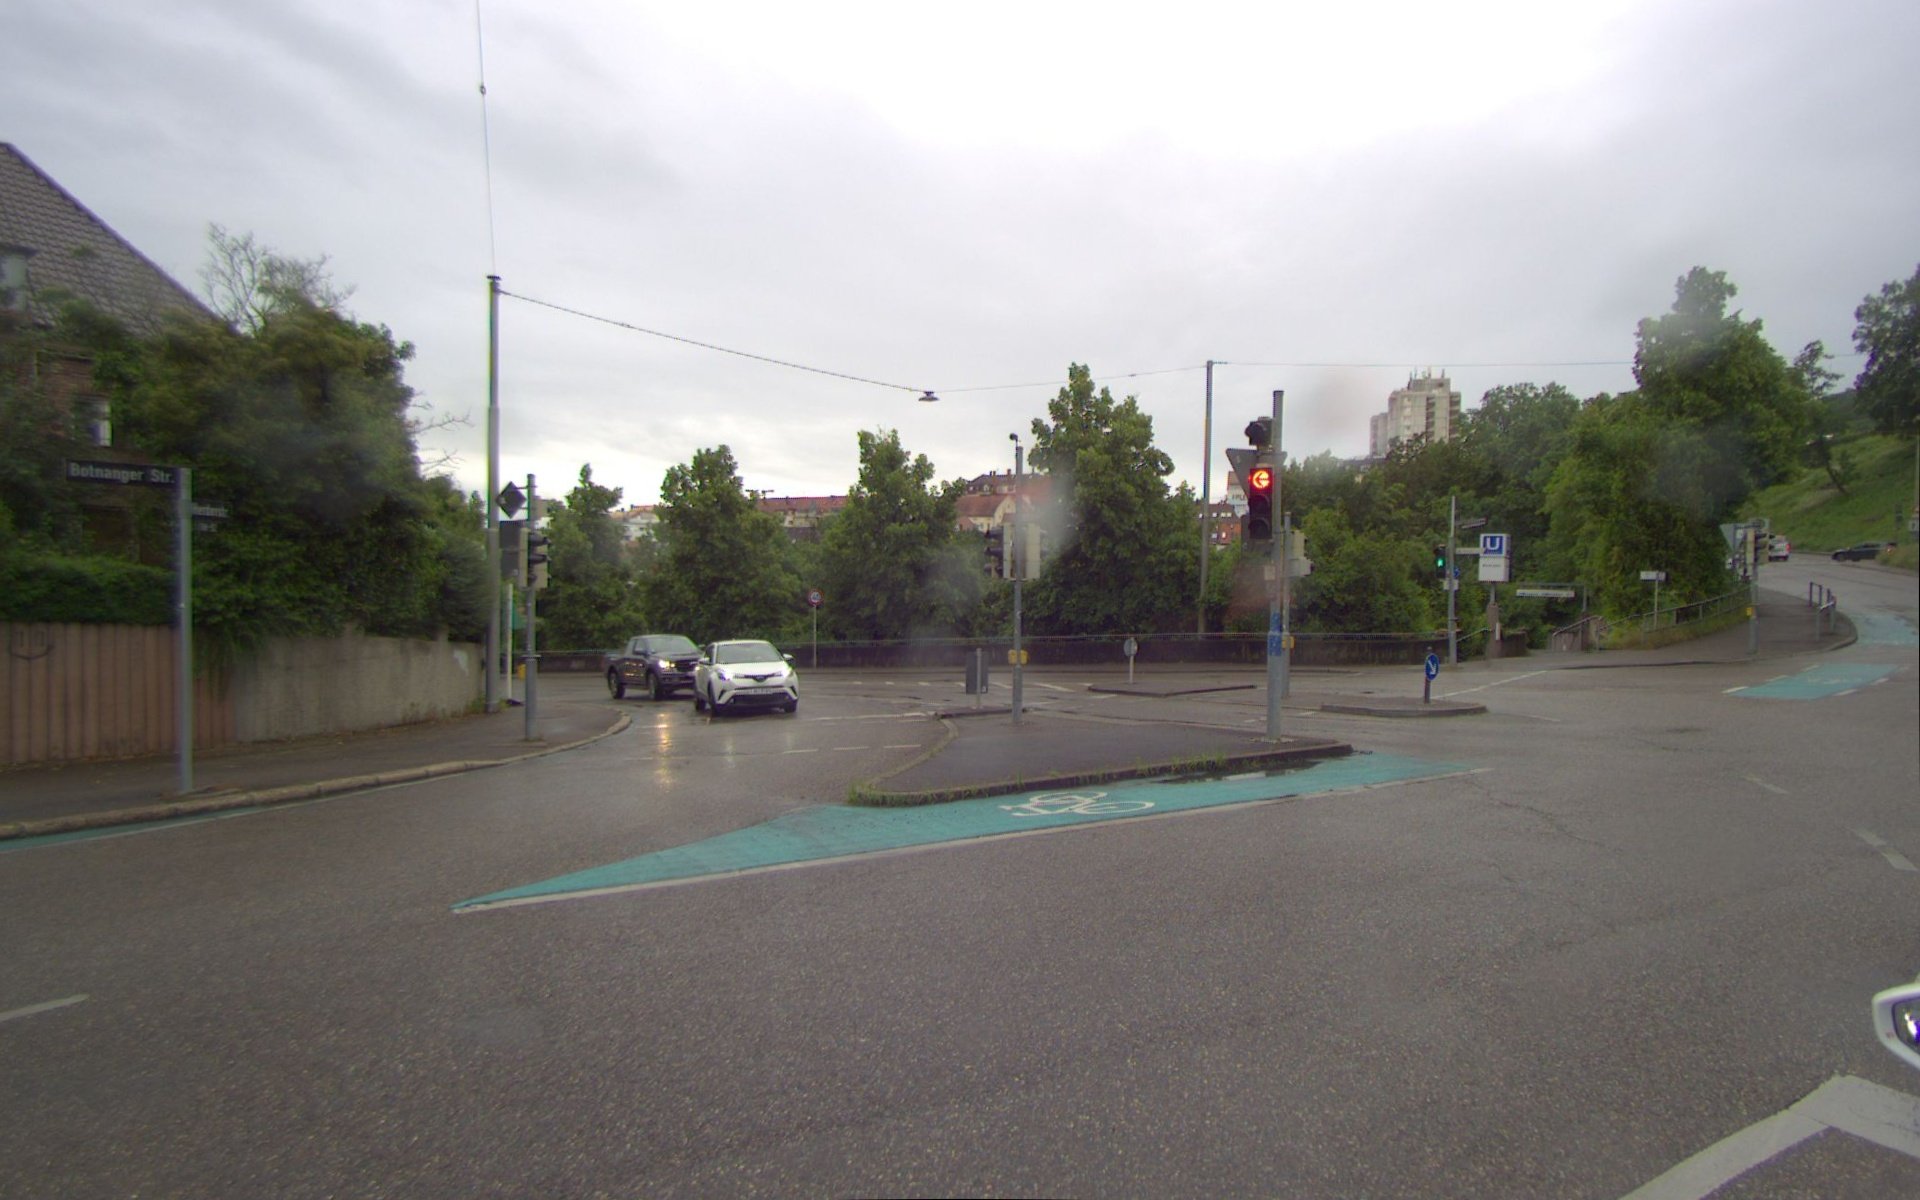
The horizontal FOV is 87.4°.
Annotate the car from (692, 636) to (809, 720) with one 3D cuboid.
[{"bbox_3d":[-4.588,1.634,21.614,1.810,1.527,3.866,-2,-2,-21],"label":"car"}]

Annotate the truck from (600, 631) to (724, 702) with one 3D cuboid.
[{"bbox_3d":[-8.814,1.957,29.412,1.890,1.809,4.940,-2,-3,-36],"label":"truck"}]

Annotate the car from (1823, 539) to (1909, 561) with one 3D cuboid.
[{"bbox_3d":[66.678,-3.645,74.022,1.930,1.532,4.389,-1,2,-16],"label":"car"}]

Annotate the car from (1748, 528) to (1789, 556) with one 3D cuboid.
[{"bbox_3d":[65.305,-4.639,81.164,2.037,2.033,4.801,1,1,33],"label":"car"}]
